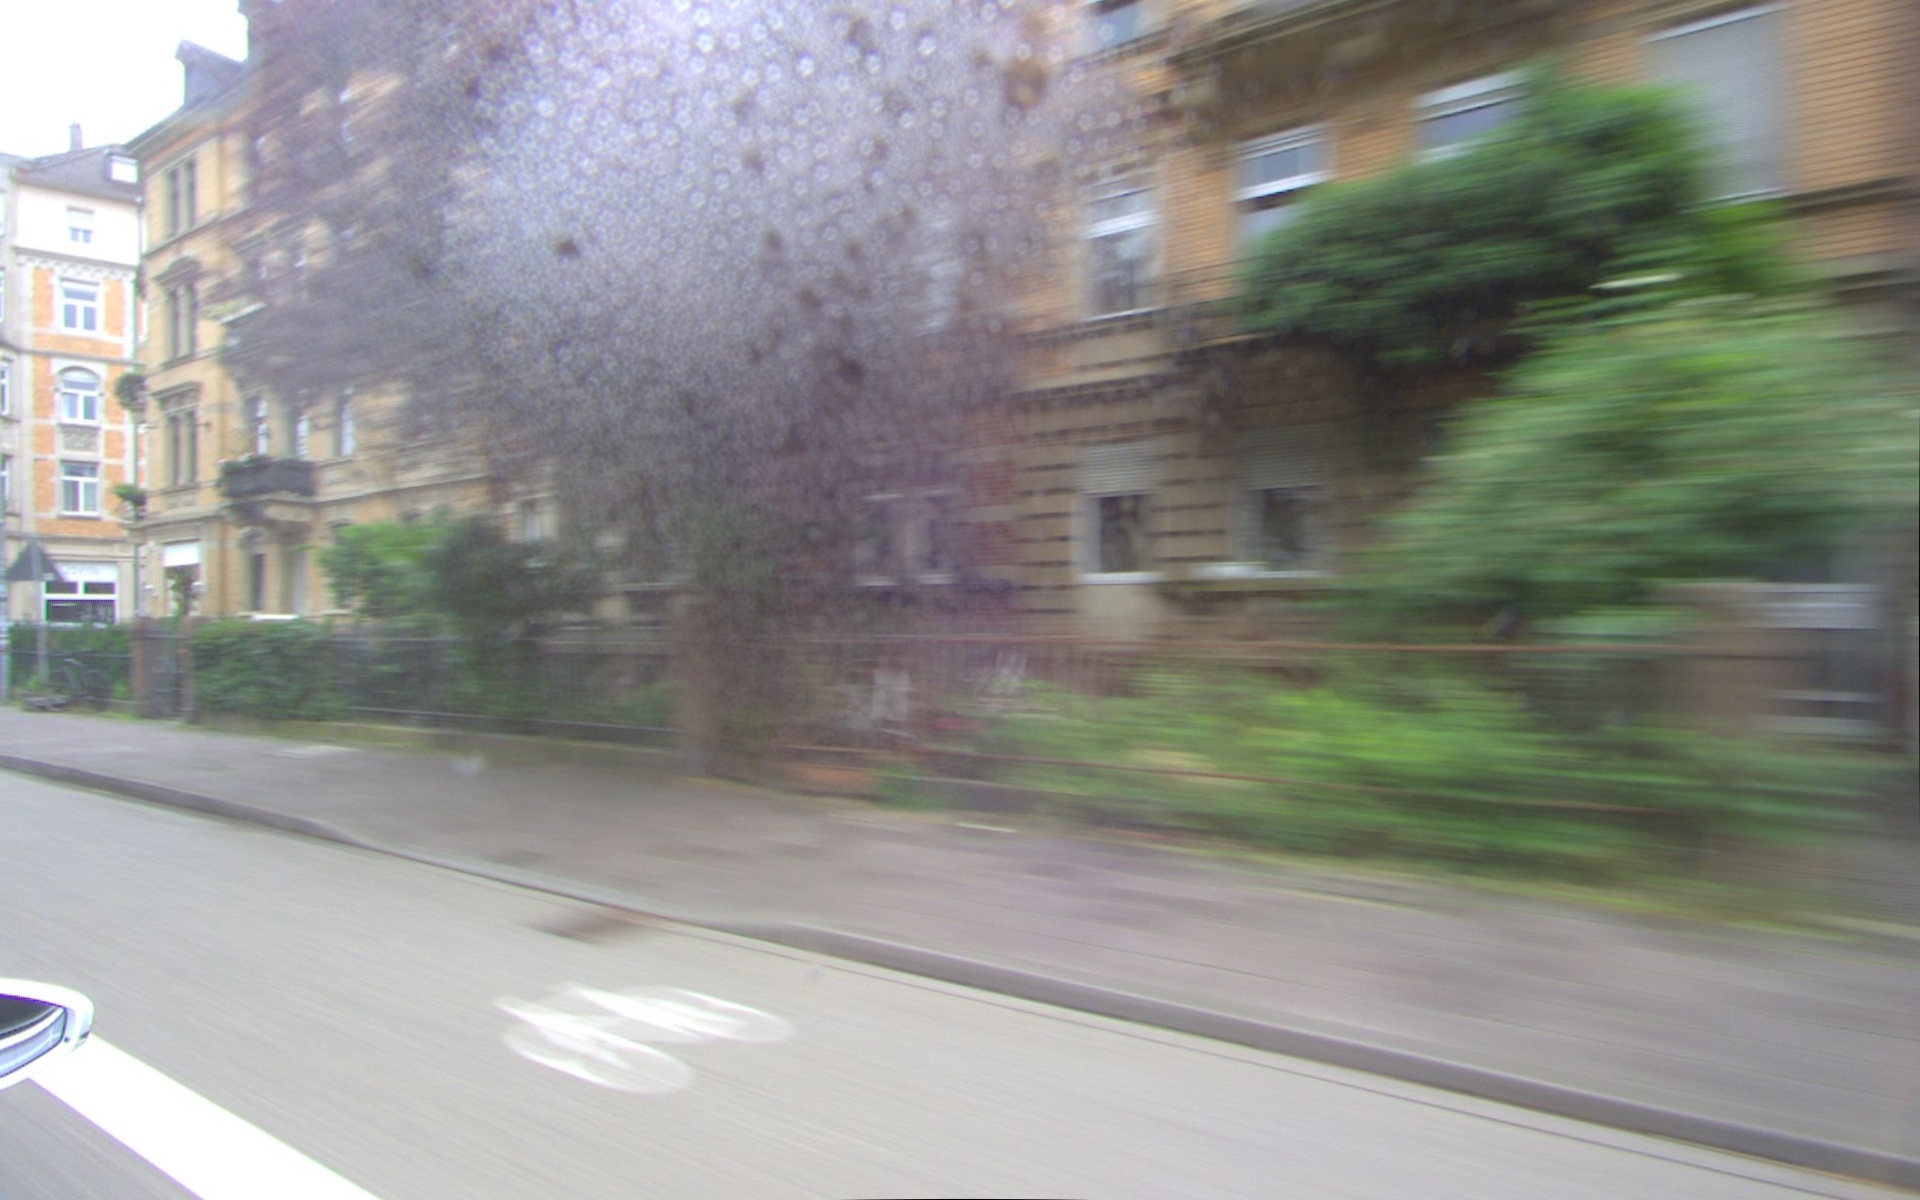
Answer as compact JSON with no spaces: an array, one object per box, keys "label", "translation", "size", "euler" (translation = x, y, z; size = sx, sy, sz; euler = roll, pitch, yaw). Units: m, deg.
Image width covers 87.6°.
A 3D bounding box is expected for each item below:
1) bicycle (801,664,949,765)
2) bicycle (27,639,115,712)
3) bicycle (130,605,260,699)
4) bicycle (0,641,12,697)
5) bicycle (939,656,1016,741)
[{"label":"bicycle","translation":[-0.836,1.128,10.243],"size":[0.548,0.875,1.609],"euler":[0,-1,40]},{"label":"bicycle","translation":[-14.965,1.242,16.840],"size":[2.145,1.114,0.522],"euler":[-1,2,33]},{"label":"bicycle","translation":[-14.230,0.934,18.593],"size":[2.922,1.623,0.989],"euler":[-1,-1,33]},{"label":"bicycle","translation":[-19.023,1.322,19.349],"size":[2.145,1.043,0.522],"euler":[-1,-1,33]},{"label":"bicycle","translation":[0.232,1.144,11.968],"size":[0.562,0.902,1.539],"euler":[0,-2,15]}]
